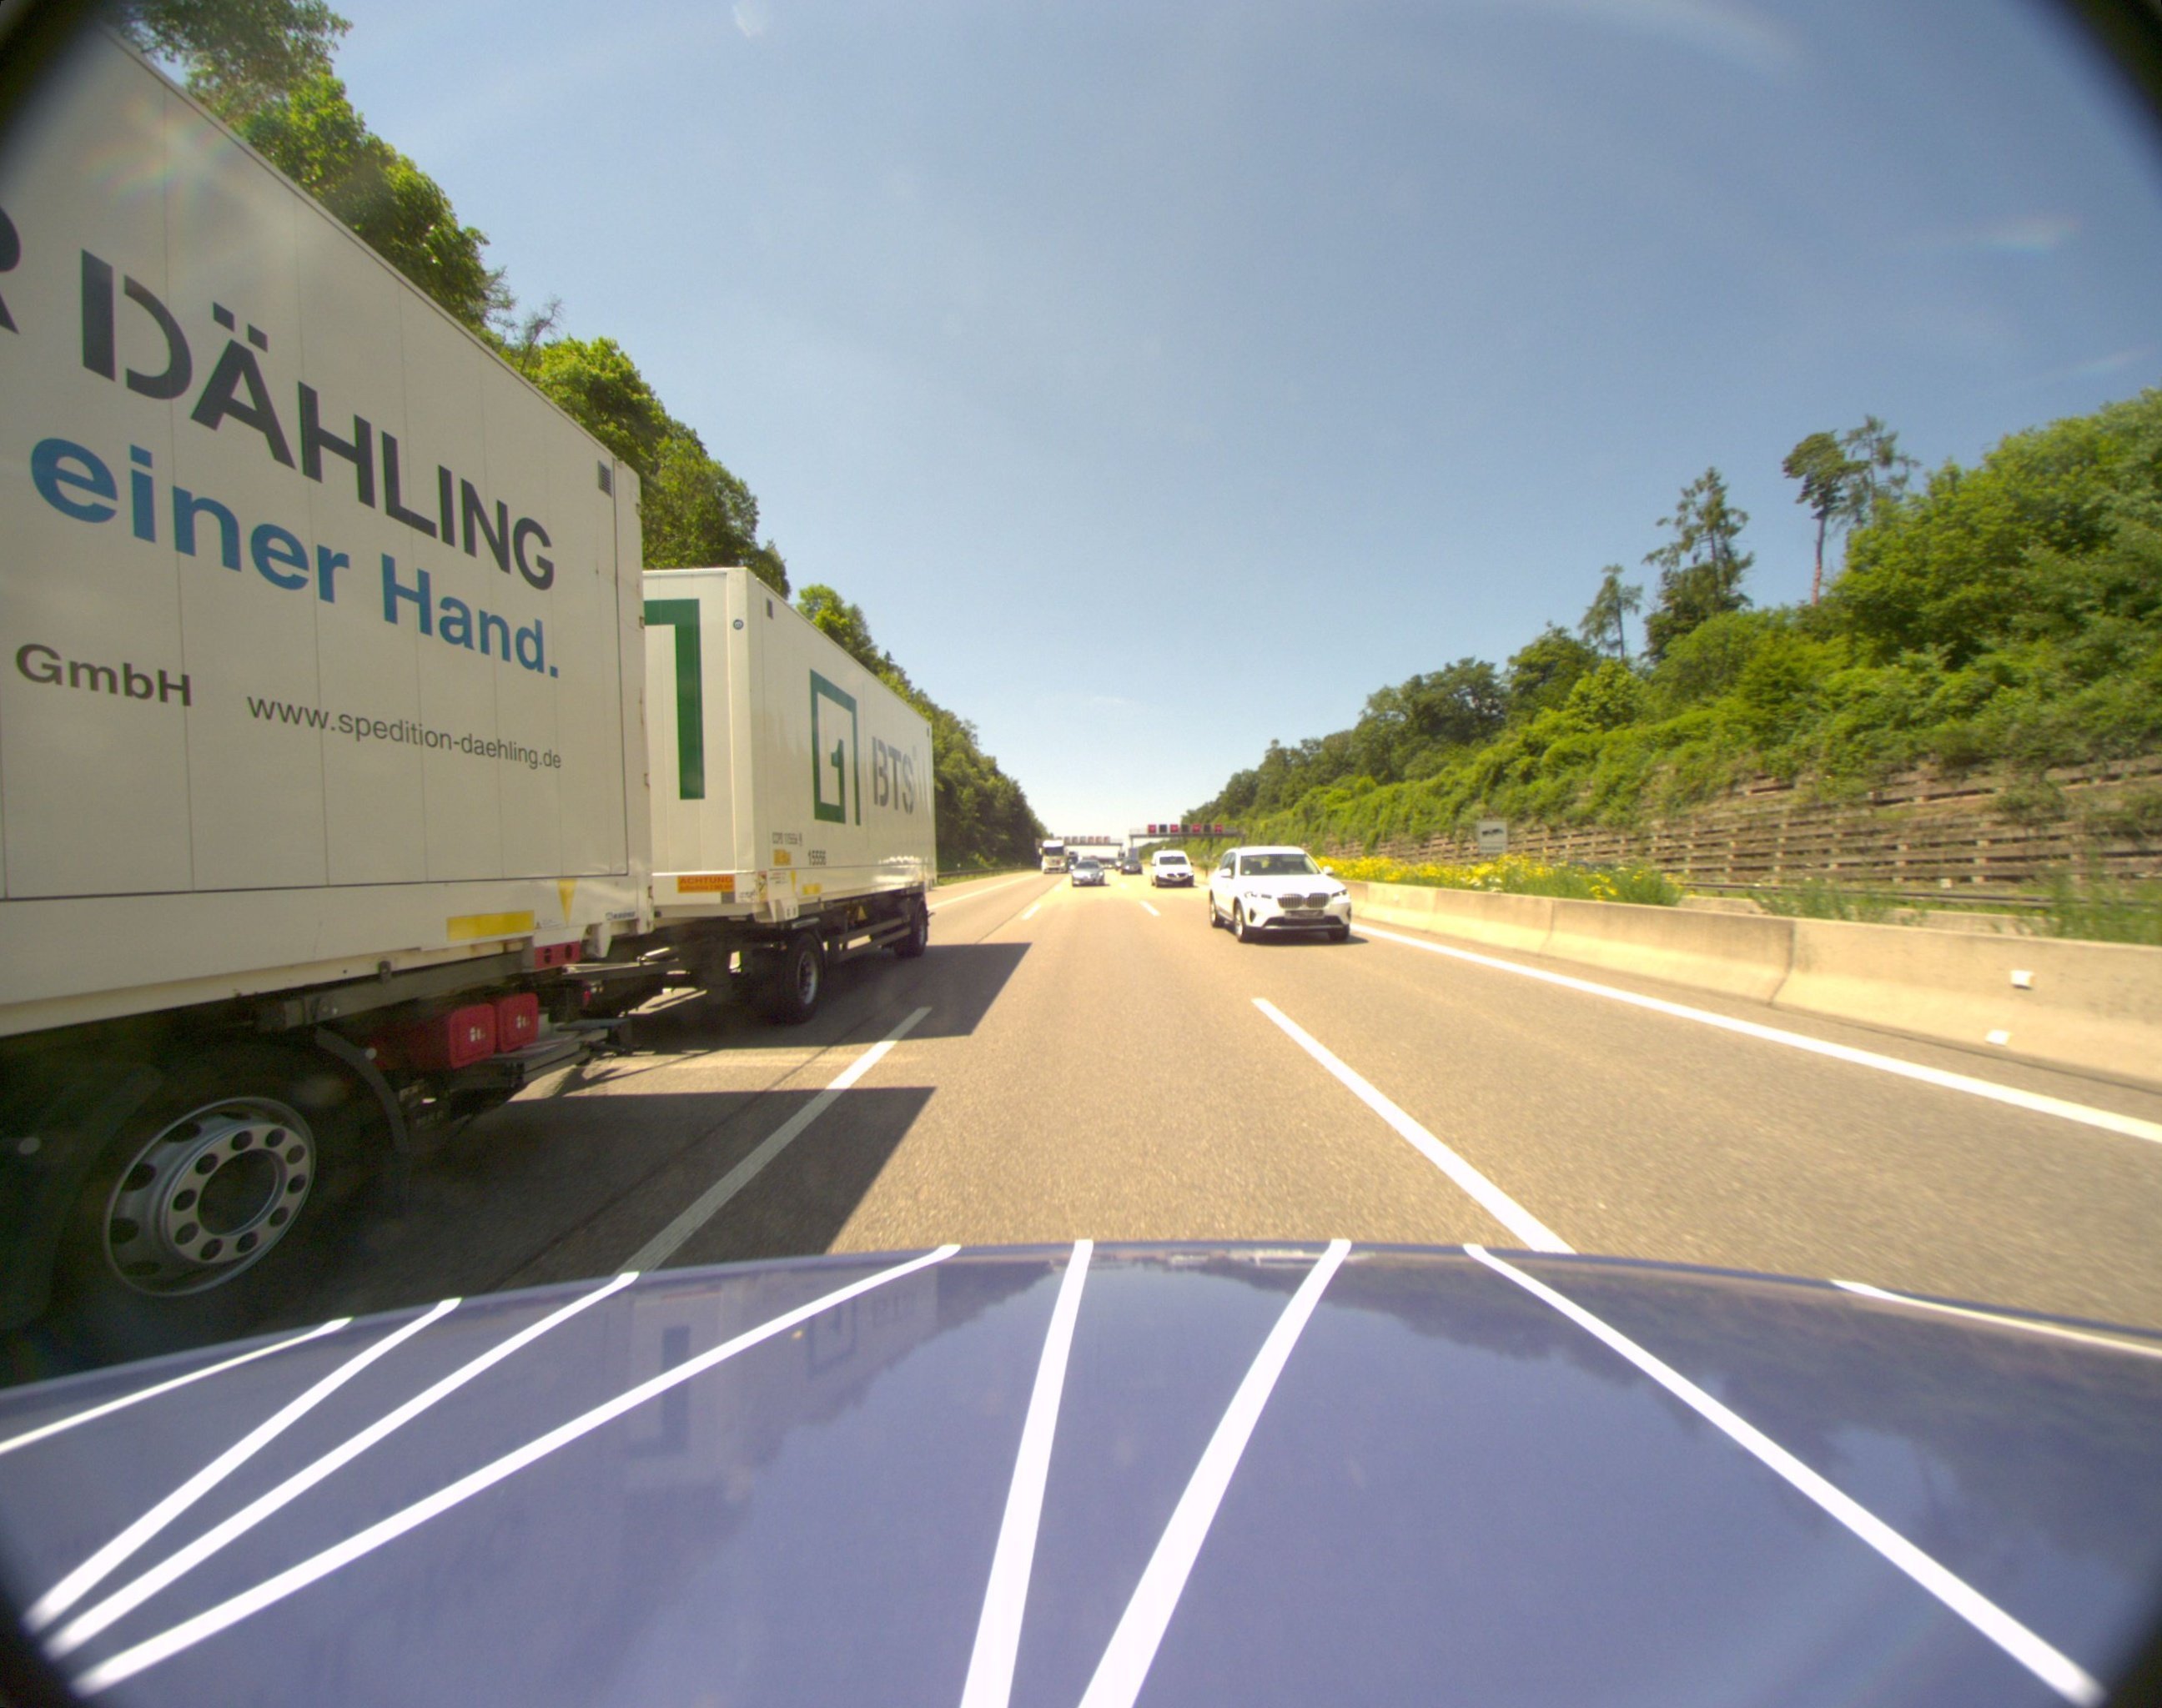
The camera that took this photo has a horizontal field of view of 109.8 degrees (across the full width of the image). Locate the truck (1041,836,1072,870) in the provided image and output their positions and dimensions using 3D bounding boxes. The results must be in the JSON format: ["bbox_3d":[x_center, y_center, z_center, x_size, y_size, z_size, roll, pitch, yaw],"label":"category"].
[{"bbox_3d":[-2.705,0.019,87.899,2.844,3.517,13.089,-3,-1,0],"label":"truck"}]

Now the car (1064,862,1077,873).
[{"bbox_3d":[-1.538,2.046,114.965,1.770,1.504,4.001,-3,-1,0],"label":"car"}]

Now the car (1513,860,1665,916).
[{"bbox_3d":[15.174,0.958,22.992,1.792,1.513,4.203,0,0,0],"label":"car"}]

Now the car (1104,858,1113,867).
[{"bbox_3d":[6.310,1.921,173.495,1.924,1.848,4.001,-3,-1,2],"label":"car"}]

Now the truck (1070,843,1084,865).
[{"bbox_3d":[-0.801,0.066,162.337,2.627,4.364,13.089,-3,-1,0],"label":"truck"}]

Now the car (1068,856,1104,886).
[{"bbox_3d":[0.342,0.934,42.695,1.843,1.517,4.502,-3,-1,2],"label":"car"}]

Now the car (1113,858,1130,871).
[{"bbox_3d":[4.822,1.260,91.169,1.770,1.504,4.001,-3,-1,0],"label":"car"}]

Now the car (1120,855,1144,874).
[{"bbox_3d":[4.412,0.943,66.920,1.770,1.504,4.726,-3,-1,0],"label":"car"}]

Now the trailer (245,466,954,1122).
[{"bbox_3d":[-3.959,-0.311,9.939,2.687,4.150,10.067,-2,-1,1],"label":"trailer"}]

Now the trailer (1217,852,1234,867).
[{"bbox_3d":[20.735,0.756,108.967,1.900,2.104,3.495,0,0,2],"label":"trailer"}]

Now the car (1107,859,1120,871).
[{"bbox_3d":[5.248,1.773,123.864,1.924,1.848,4.001,-3,-1,2],"label":"car"}]

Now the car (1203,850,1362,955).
[{"bbox_3d":[3.600,0.779,14.429,1.850,1.634,4.368,-2,0,0],"label":"car"}]

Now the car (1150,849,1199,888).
[{"bbox_3d":[4.593,0.716,37.874,1.998,1.764,4.502,-3,-1,2],"label":"car"}]
